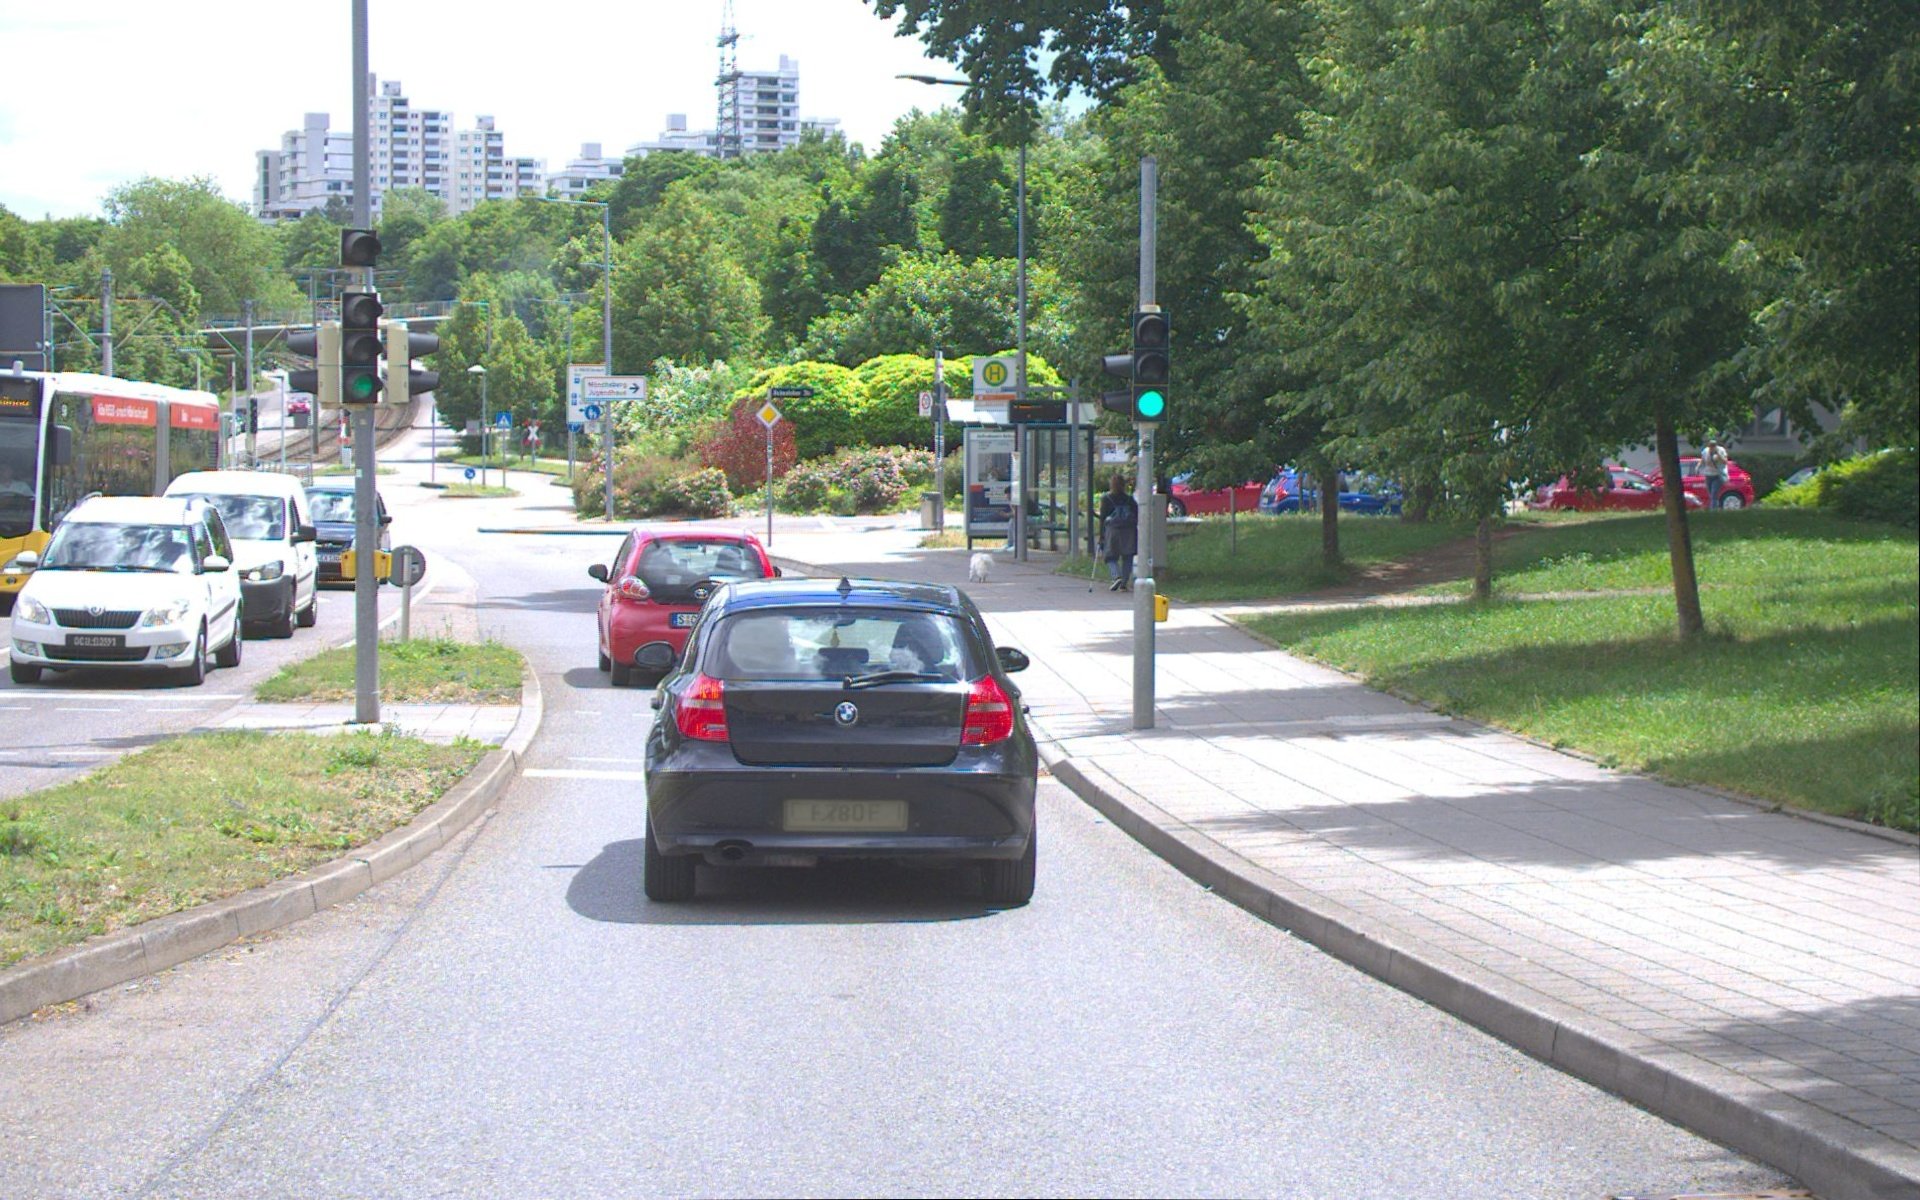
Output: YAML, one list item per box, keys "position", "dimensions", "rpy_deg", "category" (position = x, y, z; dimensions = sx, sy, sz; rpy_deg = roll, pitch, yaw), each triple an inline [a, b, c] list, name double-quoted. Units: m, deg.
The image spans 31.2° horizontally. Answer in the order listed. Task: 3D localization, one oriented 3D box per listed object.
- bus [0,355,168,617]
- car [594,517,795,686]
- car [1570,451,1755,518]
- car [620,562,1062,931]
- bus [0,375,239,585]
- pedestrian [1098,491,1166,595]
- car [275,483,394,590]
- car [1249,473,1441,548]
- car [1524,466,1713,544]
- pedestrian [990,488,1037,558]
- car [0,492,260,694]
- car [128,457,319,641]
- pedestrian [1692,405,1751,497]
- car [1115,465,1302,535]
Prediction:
- position: [-12.535, -1.581, 45.530]
  dimensions: [2.725, 3.098, 9.707]
  rpy_deg: [0, 3, -5]
  category: "bus"
- position: [-2.515, -0.030, 32.406]
  dimensions: [1.765, 1.427, 3.480]
  rpy_deg: [-1, 2, -5]
  category: "car"
- position: [17.465, -2.887, 85.589]
  dimensions: [4.080, 1.497, 2.001]
  rpy_deg: [-2, 4, -8]
  category: "car"
- position: [-0.658, 0.580, 16.222]
  dimensions: [1.815, 1.416, 4.001]
  rpy_deg: [-1, 2, -5]
  category: "car"
- position: [-13.408, -1.982, 54.843]
  dimensions: [2.725, 3.059, 8.966]
  rpy_deg: [0, 3, -5]
  category: "bus"
- position: [2.364, -0.791, 47.288]
  dimensions: [0.819, 1.420, 0.830]
  rpy_deg: [0, 2, -5]
  category: "pedestrian"
- position: [-9.642, -1.011, 53.156]
  dimensions: [1.529, 1.545, 3.733]
  rpy_deg: [1, 2, -7]
  category: "car"
- position: [8.395, -1.966, 75.119]
  dimensions: [3.792, 1.451, 1.897]
  rpy_deg: [-2, 4, -8]
  category: "car"
- position: [14.539, -2.111, 76.014]
  dimensions: [3.685, 1.638, 1.830]
  rpy_deg: [0, 4, -8]
  category: "car"
- position: [0.984, -1.424, 63.315]
  dimensions: [0.827, 1.254, 0.686]
  rpy_deg: [0, 3, -3]
  category: "pedestrian"
- position: [-7.531, -0.120, 31.287]
  dimensions: [1.699, 1.643, 4.079]
  rpy_deg: [1, 2, -3]
  category: "car"
- position: [-8.358, -0.643, 39.329]
  dimensions: [1.761, 1.656, 4.509]
  rpy_deg: [-1, 6, -8]
  category: "car"
- position: [14.656, -2.868, 66.172]
  dimensions: [0.986, 1.754, 0.858]
  rpy_deg: [0, 2, 4]
  category: "pedestrian"
- position: [6.045, -2.455, 83.878]
  dimensions: [4.155, 1.556, 2.001]
  rpy_deg: [-1, 5, -11]
  category: "car"
